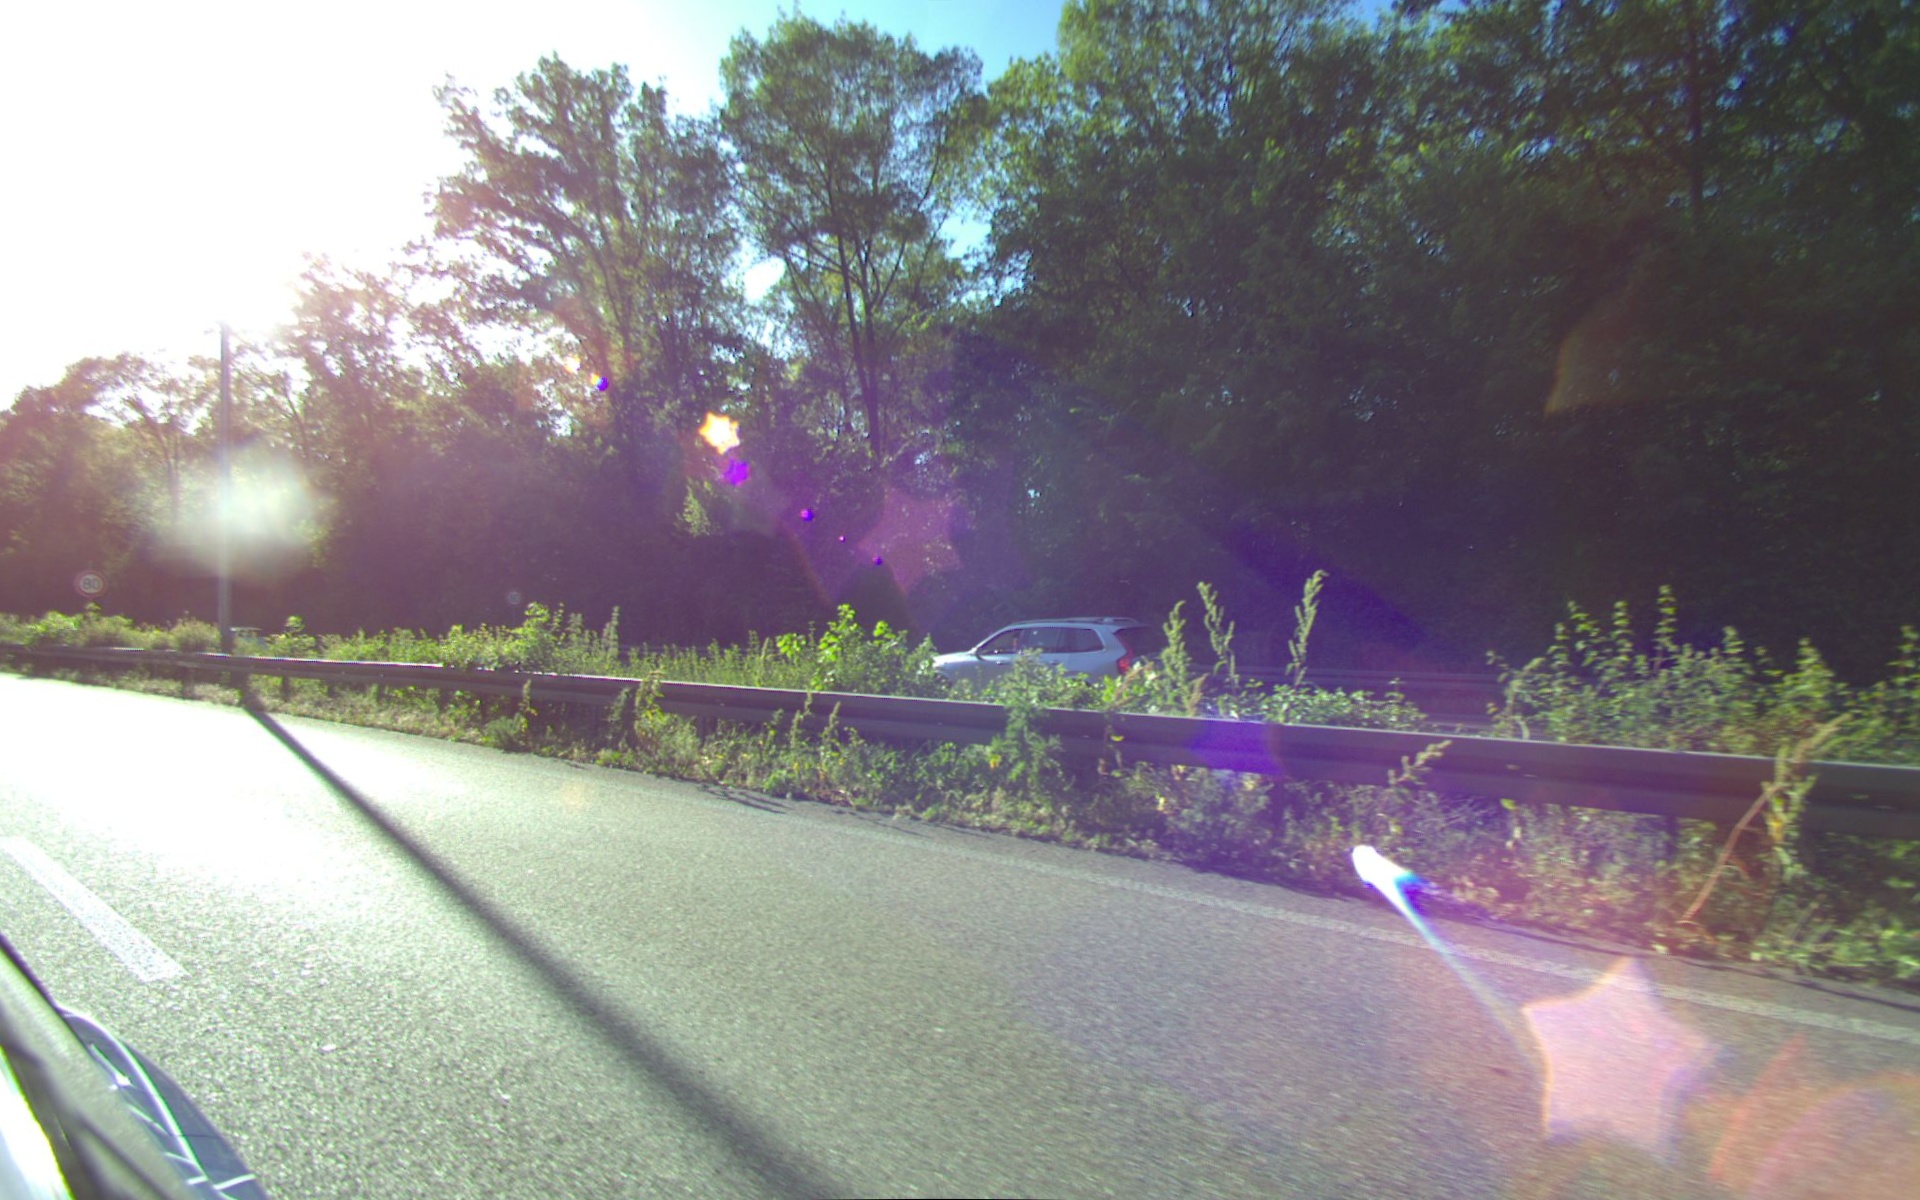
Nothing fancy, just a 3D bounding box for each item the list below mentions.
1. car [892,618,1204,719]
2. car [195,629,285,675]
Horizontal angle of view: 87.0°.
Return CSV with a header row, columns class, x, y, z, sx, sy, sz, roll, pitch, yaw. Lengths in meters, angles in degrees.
class,x,y,z,sx,sy,sz,roll,pitch,yaw
car,1.403,1.076,17.690,5.233,1.497,1.974,-1,0,39
car,-31.136,2.211,43.724,4.287,1.798,1.975,-1,0,37
